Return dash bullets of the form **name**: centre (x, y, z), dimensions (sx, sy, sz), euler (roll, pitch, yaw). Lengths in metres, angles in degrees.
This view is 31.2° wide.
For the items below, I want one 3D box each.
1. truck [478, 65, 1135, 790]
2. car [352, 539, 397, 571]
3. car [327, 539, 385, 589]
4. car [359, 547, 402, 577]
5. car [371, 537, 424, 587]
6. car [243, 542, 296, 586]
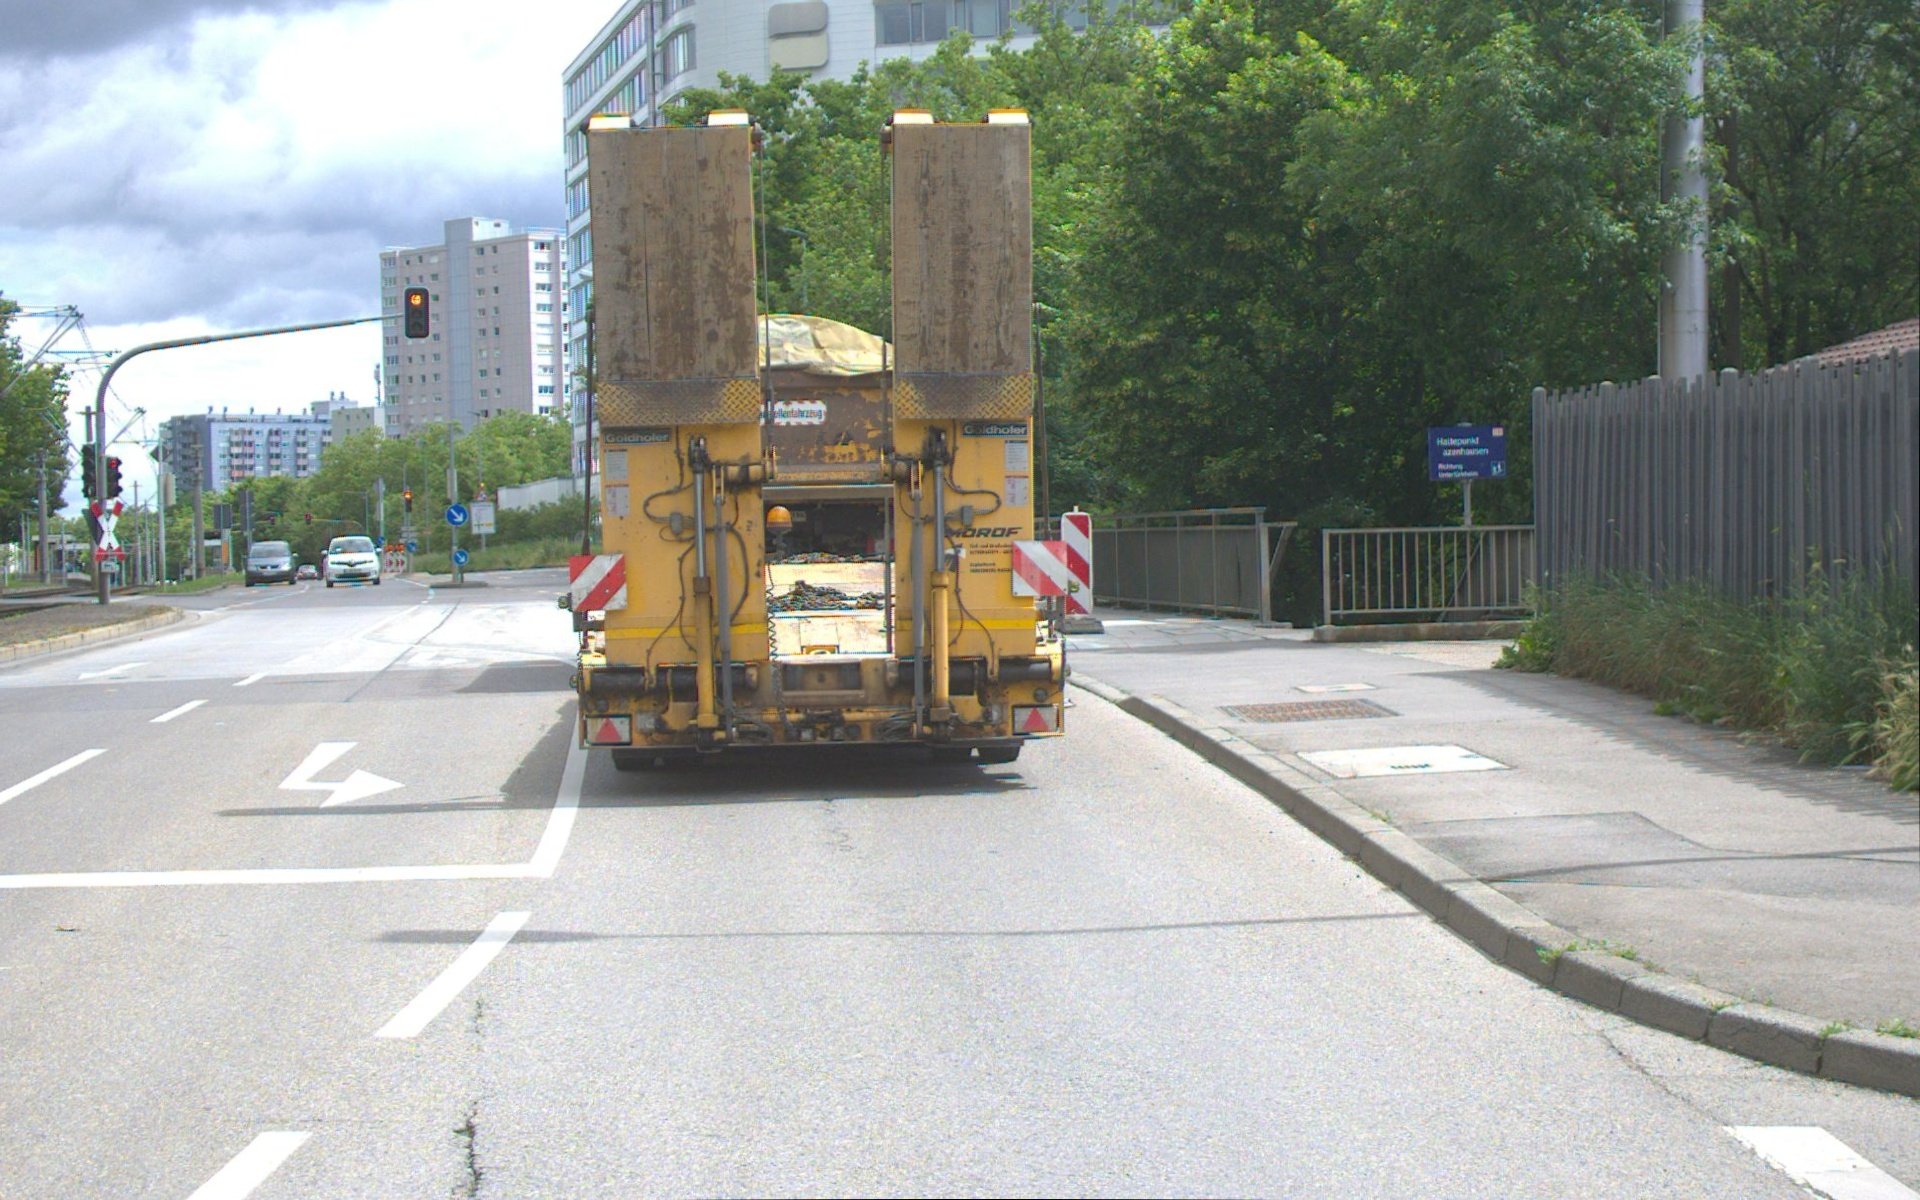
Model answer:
- **truck**: centre (-1.214, -0.937, 23.643), dimensions (3.315, 3.638, 12.564), euler (0, 1, -4)
- **car**: centre (-26.893, -2.059, 157.969), dimensions (1.993, 1.415, 4.001), euler (0, 1, -9)
- **car**: centre (-18.924, -1.133, 107.842), dimensions (1.593, 1.521, 3.656), euler (-2, 1, -8)
- **car**: centre (-28.285, -1.866, 167.875), dimensions (1.993, 1.415, 4.001), euler (0, 1, -9)
- **car**: centre (-22.145, -1.498, 135.323), dimensions (1.993, 1.919, 4.001), euler (0, 1, -9)
- **car**: centre (-25.322, -1.314, 126.203), dimensions (1.783, 1.564, 4.346), euler (-2, 1, -10)
